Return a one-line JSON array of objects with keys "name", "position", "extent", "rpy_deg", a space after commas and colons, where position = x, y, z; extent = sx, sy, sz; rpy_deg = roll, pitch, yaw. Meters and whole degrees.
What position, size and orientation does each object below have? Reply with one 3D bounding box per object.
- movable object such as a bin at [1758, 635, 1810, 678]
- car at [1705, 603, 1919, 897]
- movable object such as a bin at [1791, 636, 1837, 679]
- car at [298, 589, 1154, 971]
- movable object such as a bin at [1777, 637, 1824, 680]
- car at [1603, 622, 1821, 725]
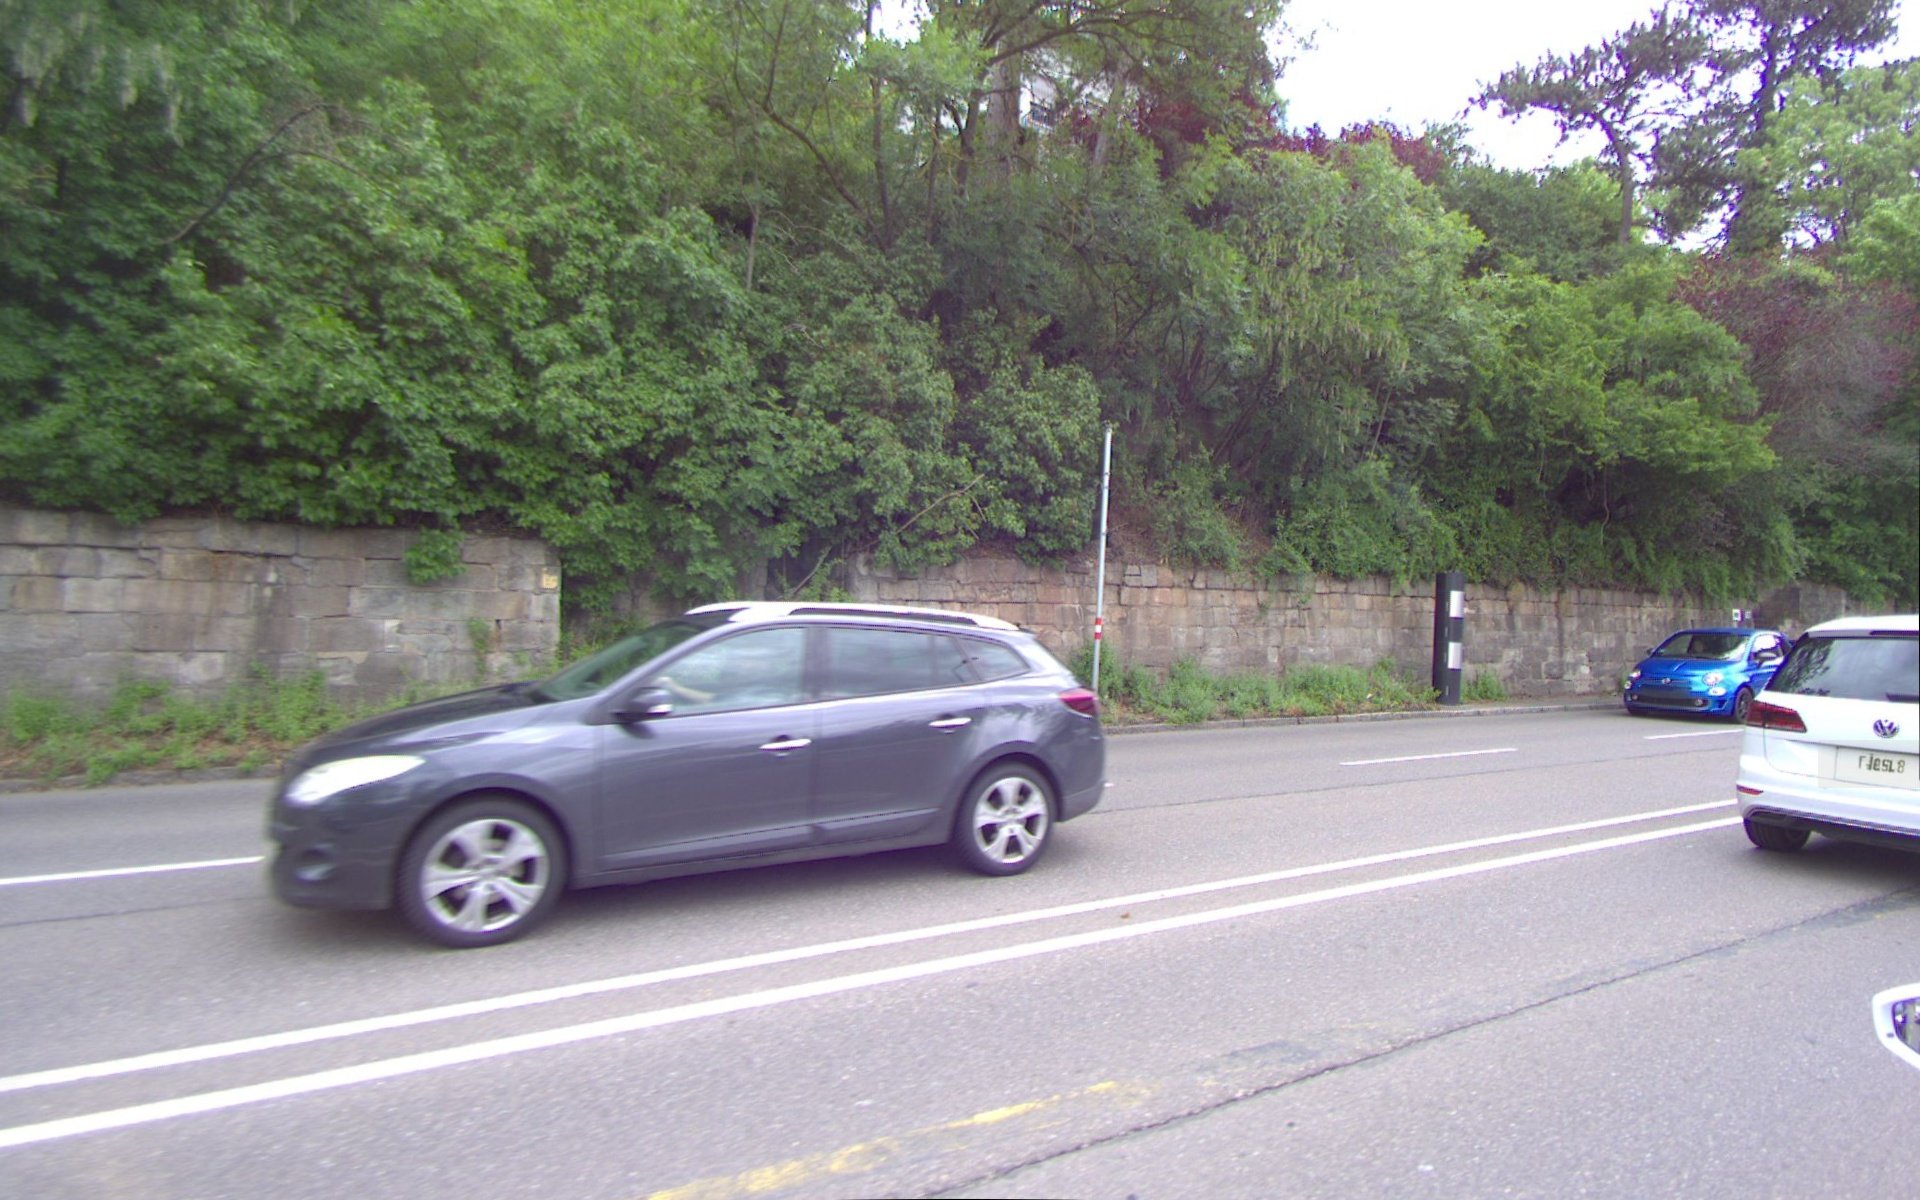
[{"name": "movable object such as a bin", "position": [21.305, 1.448, 25.970], "extent": [0.615, 1.048, 0.893], "rpy_deg": [1, 0, -33]}, {"name": "car", "position": [6.936, 0.862, 6.665], "extent": [4.226, 1.575, 1.711], "rpy_deg": [1, 0, -31]}, {"name": "movable object such as a bin", "position": [22.634, 1.509, 26.623], "extent": [0.701, 1.085, 0.783], "rpy_deg": [0, 0, -33]}, {"name": "car", "position": [-1.143, 0.744, 5.738], "extent": [4.245, 1.465, 1.847], "rpy_deg": [2, 0, -30]}, {"name": "movable object such as a bin", "position": [21.992, 1.524, 26.276], "extent": [0.710, 1.076, 0.767], "rpy_deg": [1, 0, -33]}, {"name": "car", "position": [12.384, 1.155, 16.510], "extent": [3.480, 1.481, 1.576], "rpy_deg": [2, 0, -29]}]
